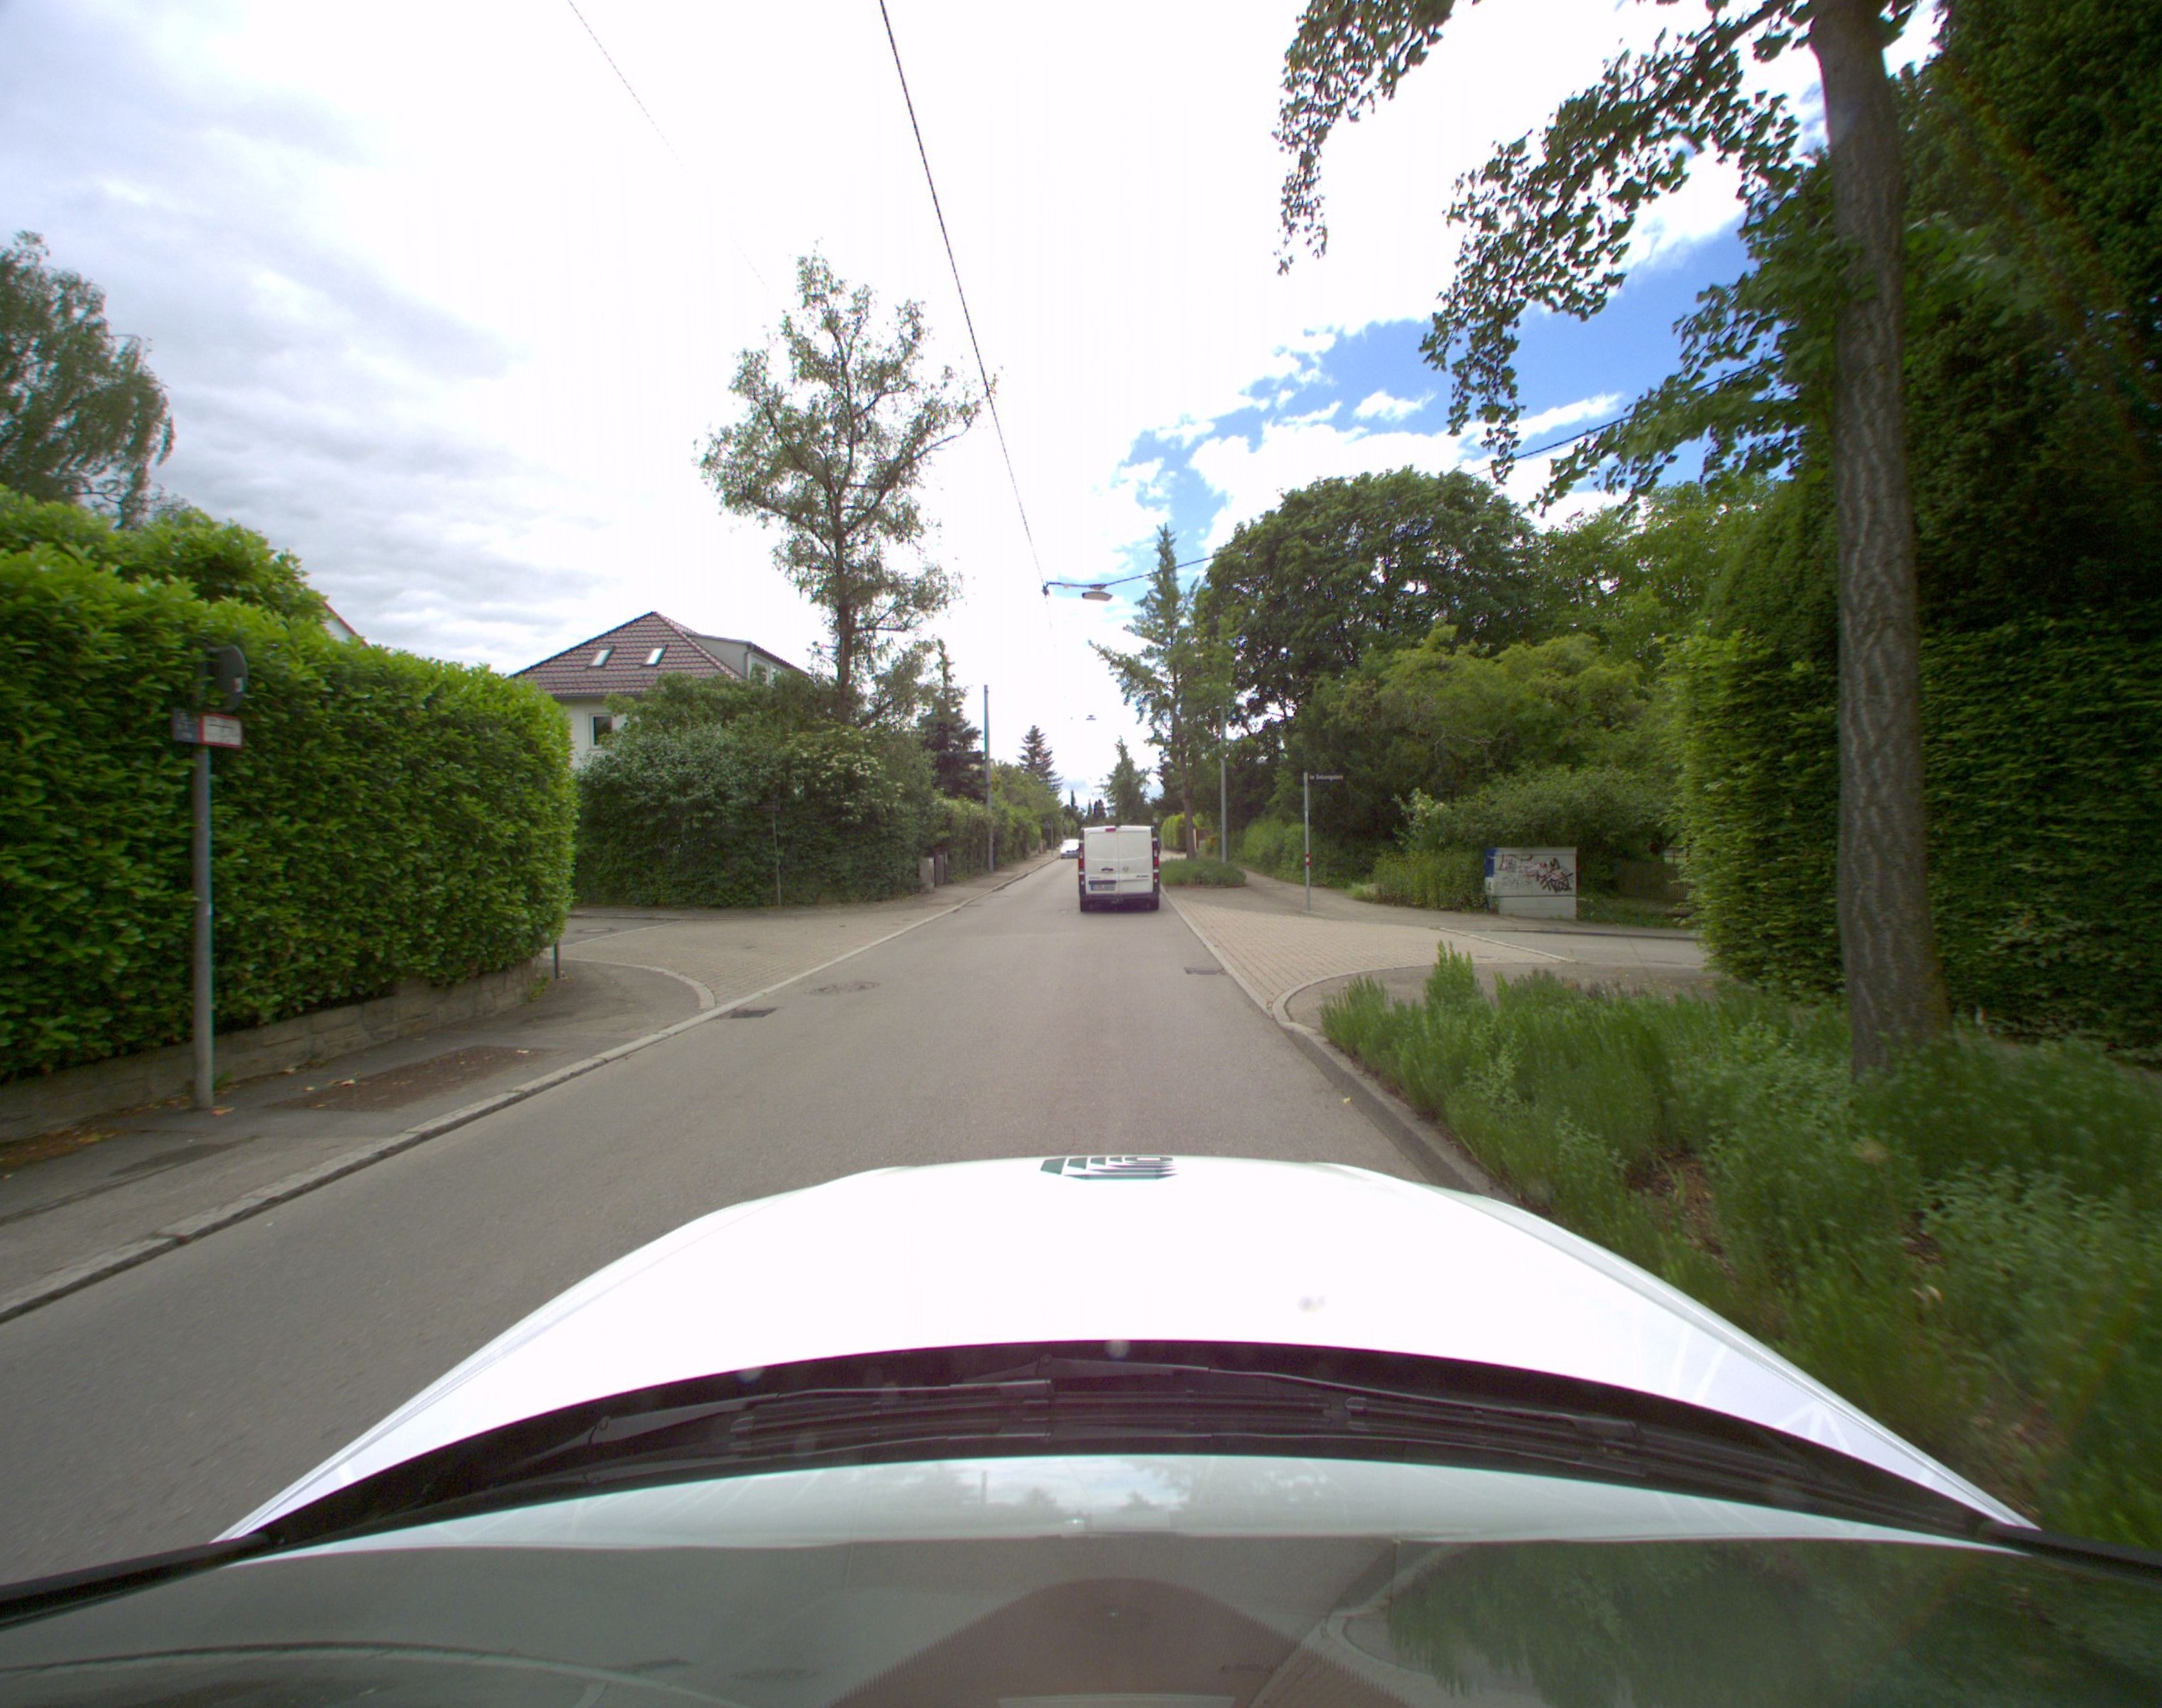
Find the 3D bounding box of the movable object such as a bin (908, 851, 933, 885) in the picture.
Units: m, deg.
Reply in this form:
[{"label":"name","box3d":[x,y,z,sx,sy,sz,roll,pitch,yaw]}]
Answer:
[{"label":"movable object such as a bin","box3d":[-5.563,0.488,28.249,0.725,1.116,0.585,2,1,-2]}]

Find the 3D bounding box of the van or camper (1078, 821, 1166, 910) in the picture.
[{"label":"van or camper","box3d":[0.954,0.262,20.290,1.932,1.954,4.766,0,0,1]}]

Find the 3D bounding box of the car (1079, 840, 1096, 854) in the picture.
[{"label":"car","box3d":[0.766,-0.797,94.679,1.799,1.431,4.119,-4,1,1]}]

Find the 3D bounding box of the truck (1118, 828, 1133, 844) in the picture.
[{"label":"truck","box3d":[6.976,-2.877,128.856,2.179,2.471,7.434,0,1,2]}]

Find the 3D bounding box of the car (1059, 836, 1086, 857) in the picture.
[{"label":"car","box3d":[-0.632,-0.609,64.140,1.798,1.431,4.304,-4,1,2]}]
